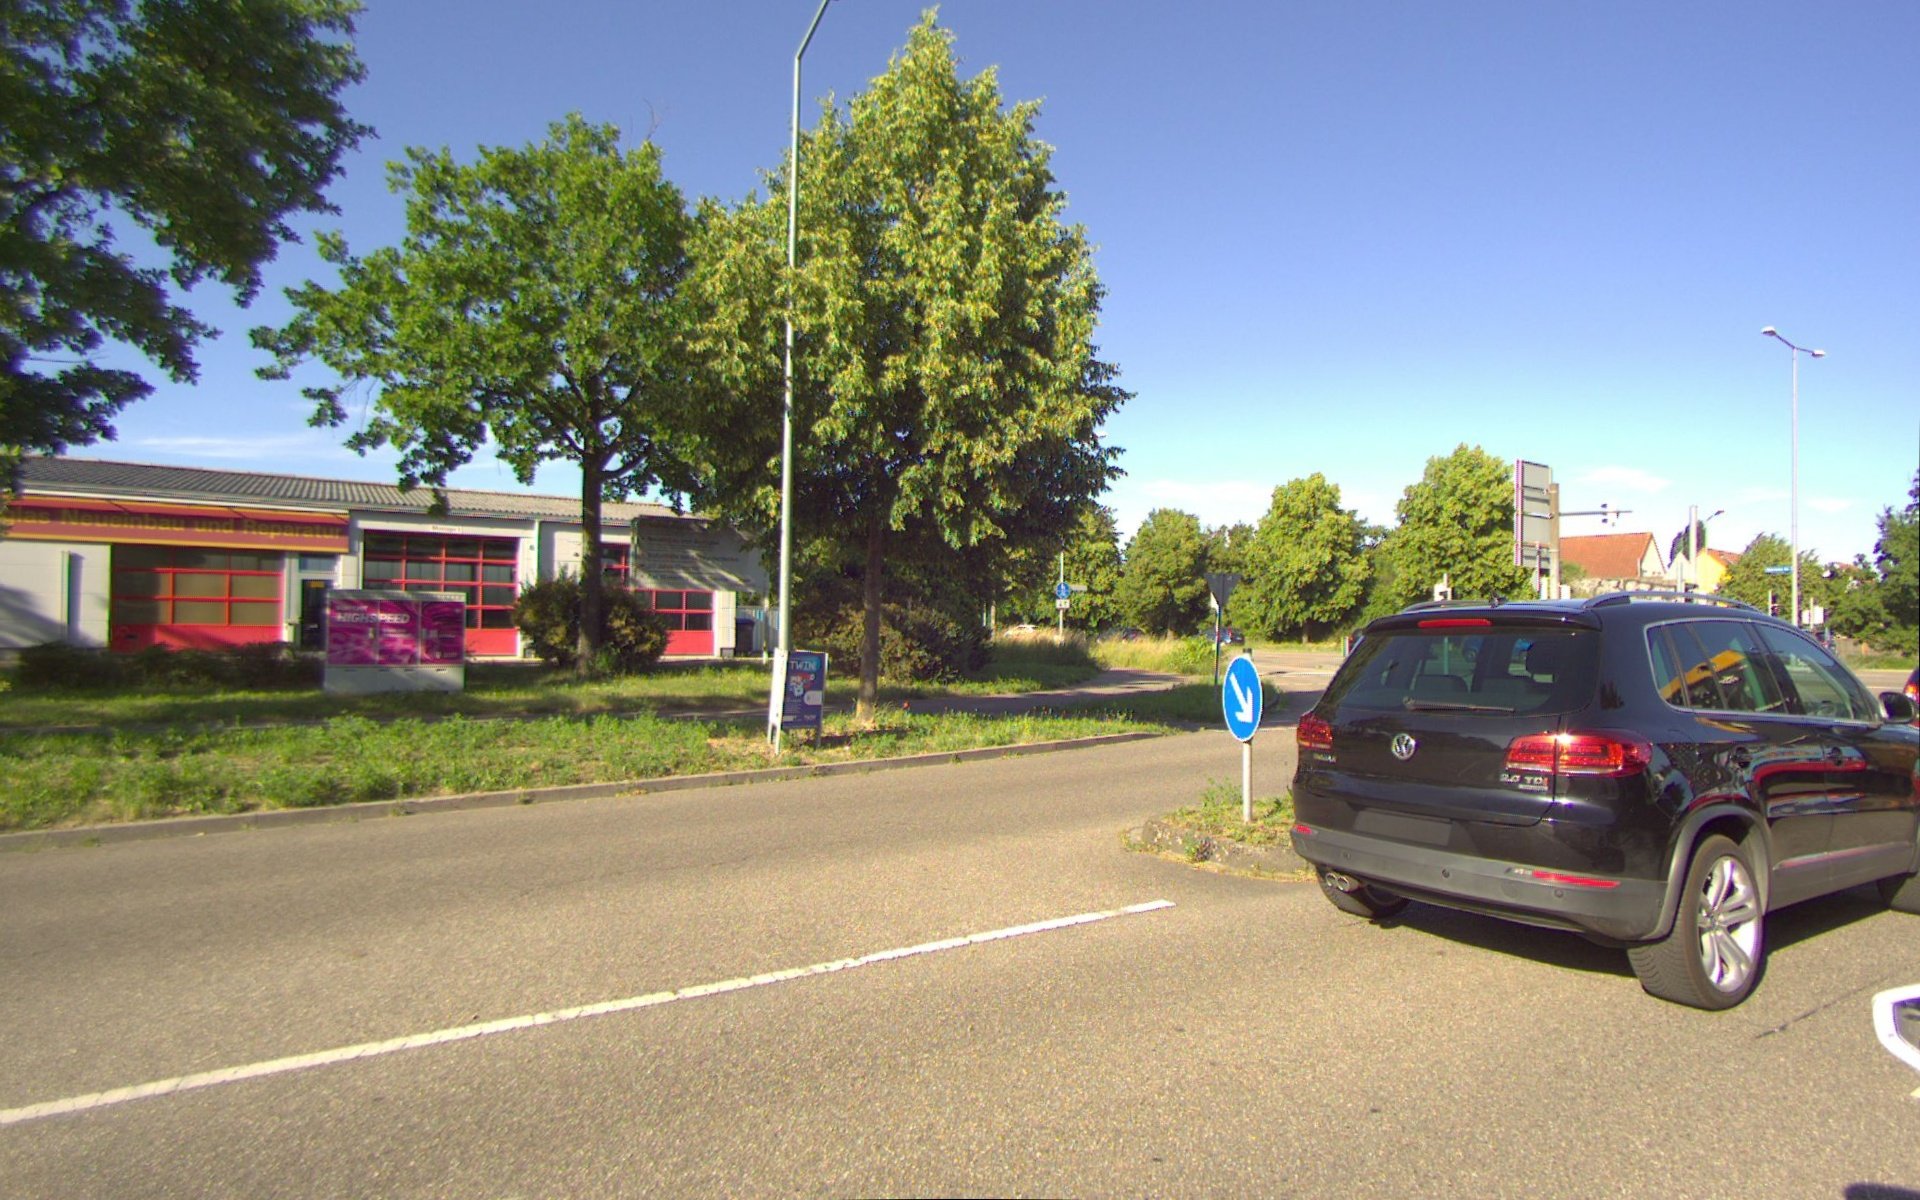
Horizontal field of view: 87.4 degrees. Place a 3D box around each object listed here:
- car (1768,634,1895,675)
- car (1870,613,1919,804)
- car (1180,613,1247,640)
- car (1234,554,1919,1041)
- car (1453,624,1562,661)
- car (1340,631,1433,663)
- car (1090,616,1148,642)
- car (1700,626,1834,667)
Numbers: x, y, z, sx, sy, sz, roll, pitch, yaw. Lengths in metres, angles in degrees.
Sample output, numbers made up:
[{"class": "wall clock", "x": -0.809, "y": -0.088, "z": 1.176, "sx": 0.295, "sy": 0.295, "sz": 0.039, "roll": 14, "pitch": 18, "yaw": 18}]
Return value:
[{"class": "car", "x": 38.107, "y": 2.353, "z": 43.999, "sx": 1.678, "sy": 1.633, "sz": 3.961, "roll": 1, "pitch": -1, "yaw": -35}, {"class": "car", "x": 10.261, "y": 0.934, "z": 9.224, "sx": 3.986, "sy": 1.642, "sz": 1.745, "roll": 0, "pitch": -1, "yaw": -31}, {"class": "car", "x": 16.149, "y": 1.685, "z": 64.089, "sx": 1.680, "sy": 1.573, "sz": 3.959, "roll": 2, "pitch": -1, "yaw": -36}, {"class": "car", "x": 3.536, "y": 0.792, "z": 5.323, "sx": 3.957, "sy": 1.695, "sz": 1.812, "roll": 2, "pitch": -3, "yaw": -31}, {"class": "car", "x": 23.709, "y": 1.827, "z": 43.617, "sx": 1.668, "sy": 1.403, "sz": 3.817, "roll": 2, "pitch": -1, "yaw": -38}, {"class": "car", "x": 20.333, "y": 2.247, "z": 47.980, "sx": 1.494, "sy": 1.330, "sz": 3.817, "roll": 2, "pitch": -1, "yaw": -38}, {"class": "car", "x": 11.925, "y": 2.176, "z": 75.442, "sx": 1.982, "sy": 1.737, "sz": 3.957, "roll": 2, "pitch": -1, "yaw": -37}, {"class": "car", "x": 32.711, "y": 1.854, "z": 40.801, "sx": 1.550, "sy": 1.461, "sz": 3.960, "roll": 2, "pitch": -1, "yaw": -35}]
